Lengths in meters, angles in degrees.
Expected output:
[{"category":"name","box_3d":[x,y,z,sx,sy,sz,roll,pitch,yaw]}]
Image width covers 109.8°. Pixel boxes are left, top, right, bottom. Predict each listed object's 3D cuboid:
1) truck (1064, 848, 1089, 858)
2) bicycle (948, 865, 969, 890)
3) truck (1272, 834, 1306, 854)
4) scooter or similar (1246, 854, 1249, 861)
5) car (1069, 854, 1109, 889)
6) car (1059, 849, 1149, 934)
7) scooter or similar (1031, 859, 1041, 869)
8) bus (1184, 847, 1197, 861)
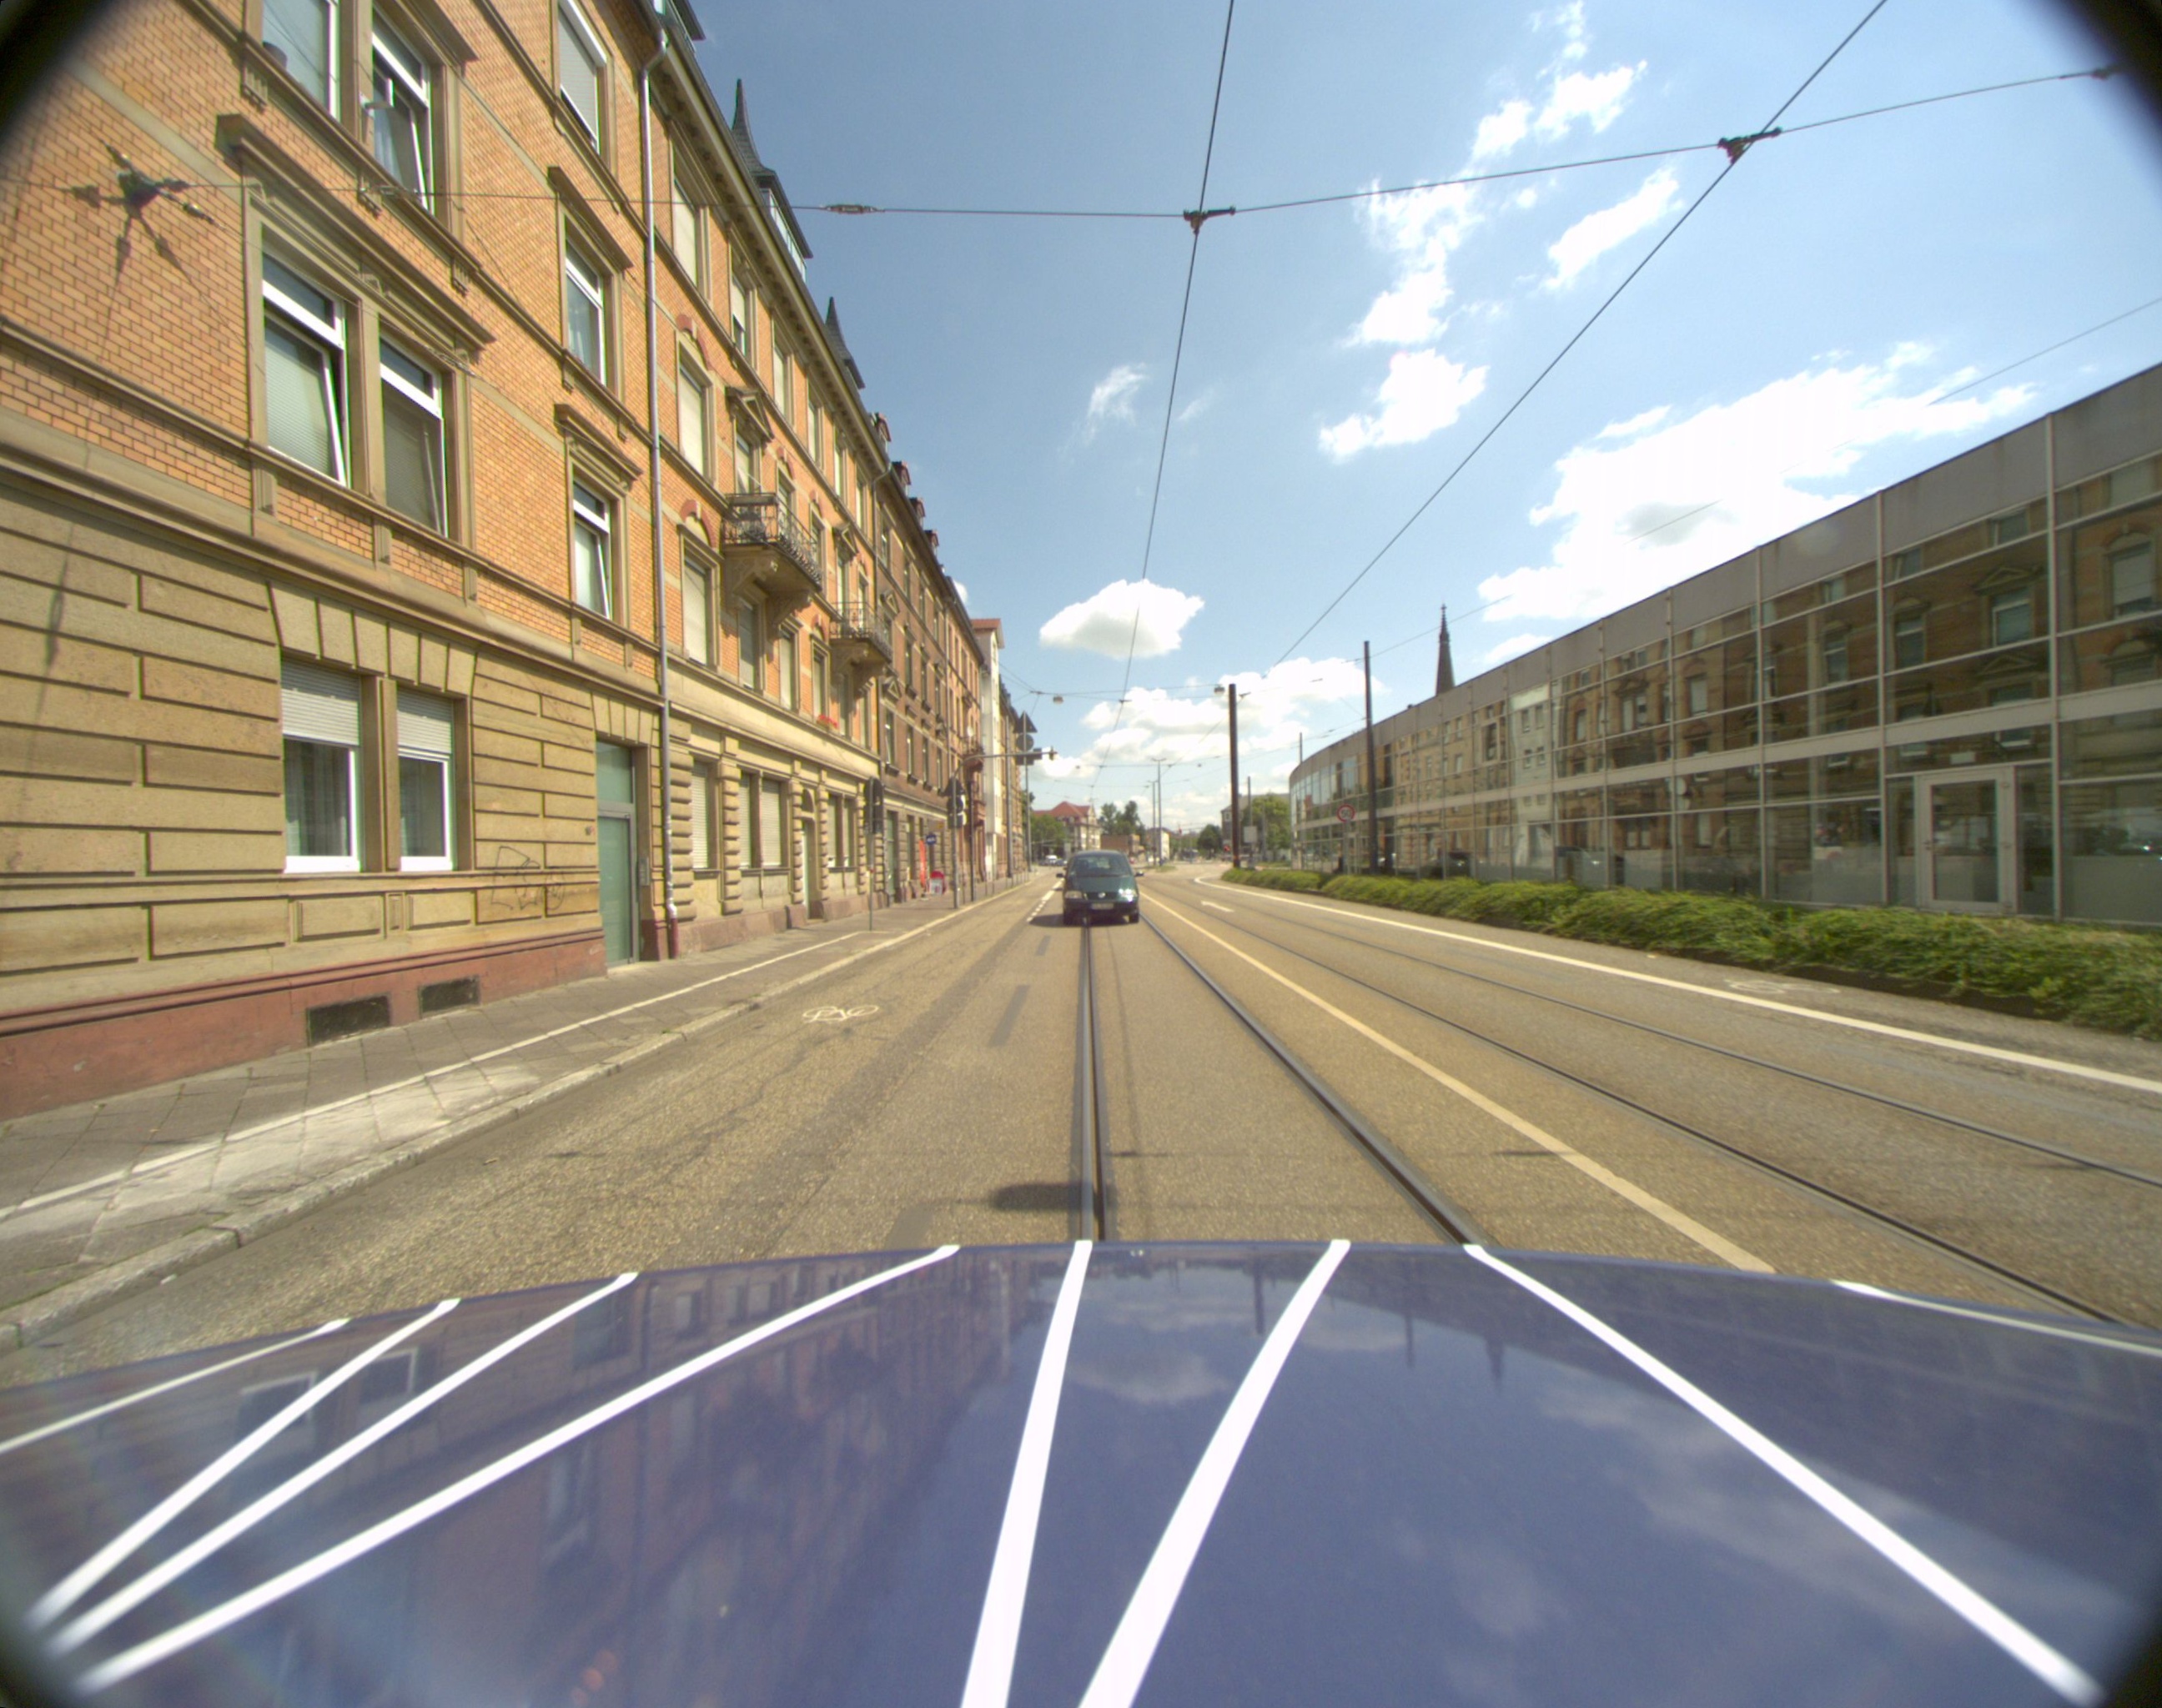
[{"category":"truck","box_3d":[-1.508,-0.286,248.597,3.346,2.981,8.751,0,2,40]},{"category":"bicycle","box_3d":[-6.090,1.159,37.888,0.588,1.171,2.205,-1,0,1]},{"category":"truck","box_3d":[44.963,-2.195,163.952,6.888,4.094,2.957,-2,0,-30]},{"category":"scooter or similar","box_3d":[28.556,0.526,130.158,0.462,1.193,0.549,-1,0,0]},{"category":"car","box_3d":[0.370,0.840,39.085,1.873,1.607,4.426,-3,0,-1]},{"category":"car","box_3d":[0.510,0.794,18.073,1.819,1.707,4.085,-3,0,0]},{"category":"scooter or similar","box_3d":[-5.449,1.226,92.135,0.949,1.173,1.086,0,1,7]},{"category":"bus","box_3d":[28.372,-0.071,196.549,2.947,3.427,7.954,-1,0,12]}]
